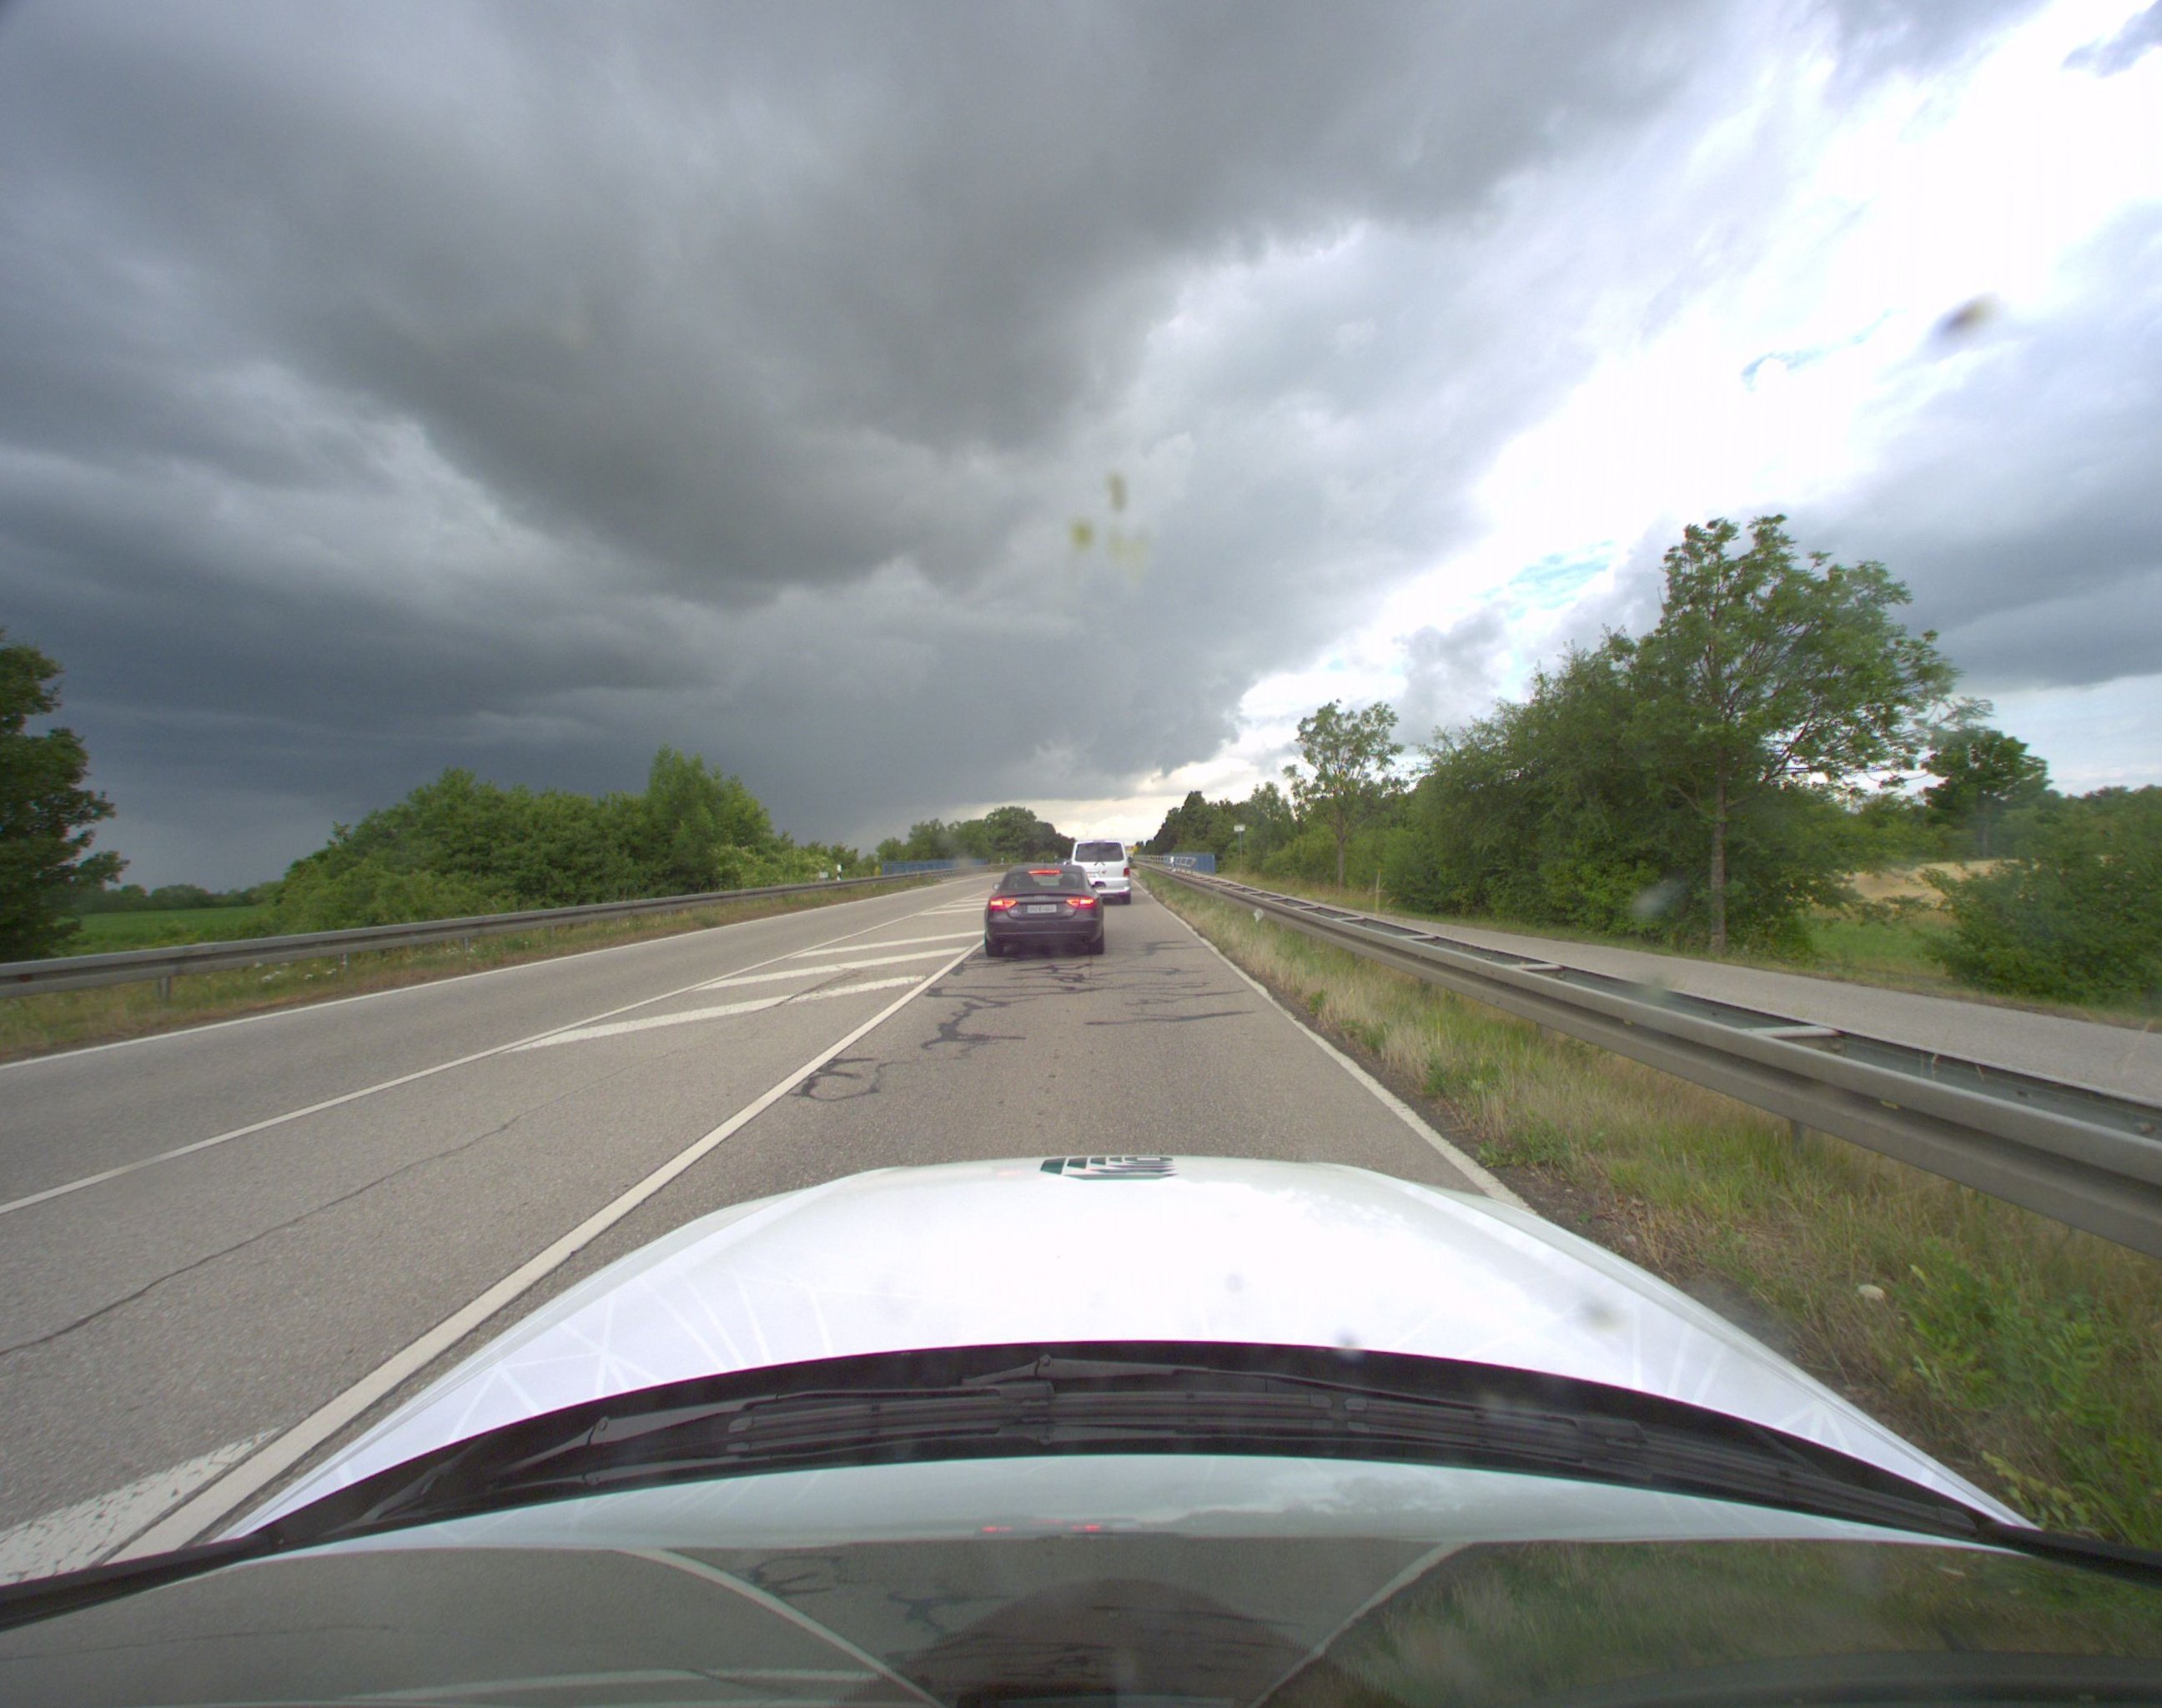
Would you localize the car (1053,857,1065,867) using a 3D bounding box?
[{"bbox_3d":[-3.456,1.226,129.153,1.793,1.450,4.446,-2,0,0],"label":"car"}]

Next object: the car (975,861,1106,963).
[{"bbox_3d":[-0.514,0.839,13.607,1.815,1.381,4.073,-2,0,2],"label":"car"}]

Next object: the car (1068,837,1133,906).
[{"bbox_3d":[0.627,0.519,25.734,1.821,1.935,4.001,-2,0,2],"label":"car"}]
